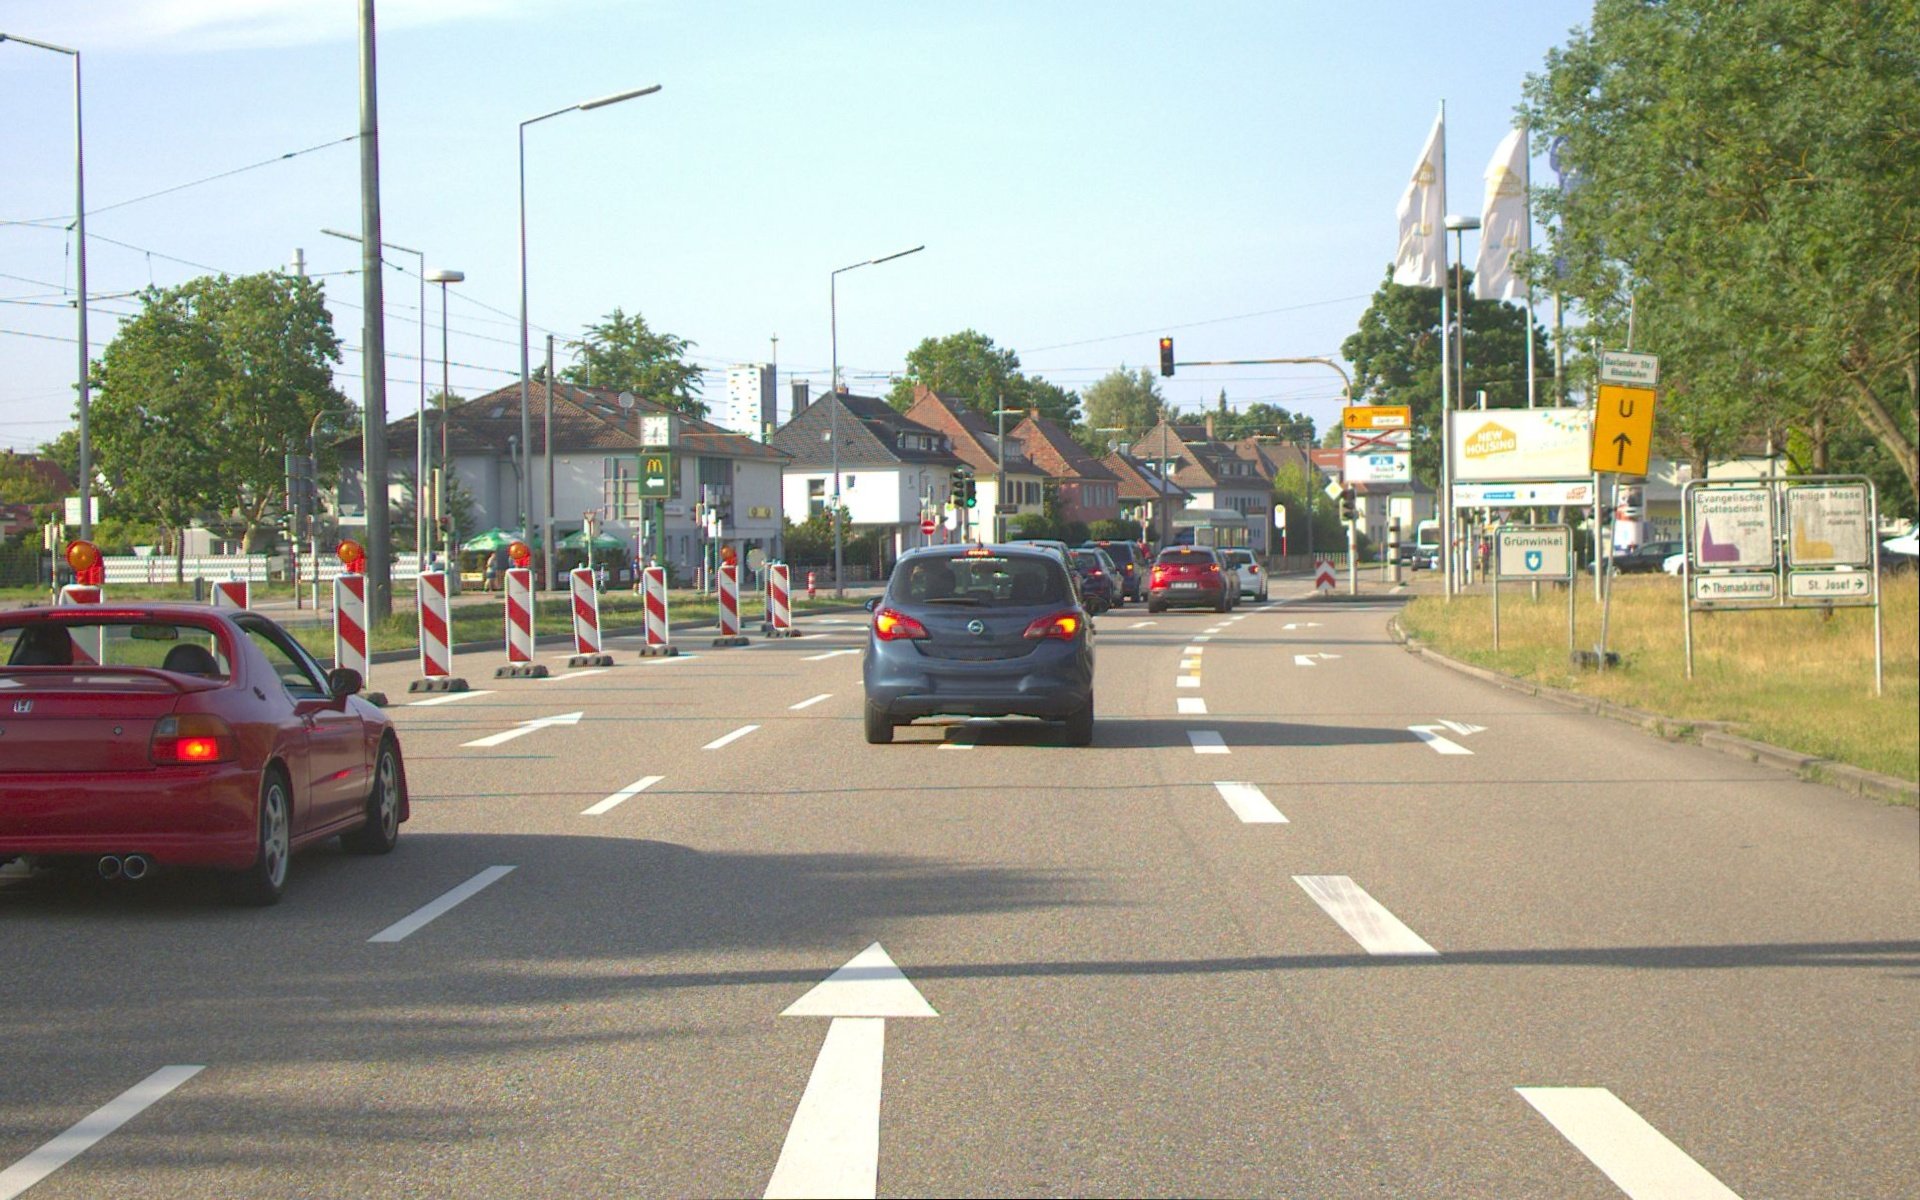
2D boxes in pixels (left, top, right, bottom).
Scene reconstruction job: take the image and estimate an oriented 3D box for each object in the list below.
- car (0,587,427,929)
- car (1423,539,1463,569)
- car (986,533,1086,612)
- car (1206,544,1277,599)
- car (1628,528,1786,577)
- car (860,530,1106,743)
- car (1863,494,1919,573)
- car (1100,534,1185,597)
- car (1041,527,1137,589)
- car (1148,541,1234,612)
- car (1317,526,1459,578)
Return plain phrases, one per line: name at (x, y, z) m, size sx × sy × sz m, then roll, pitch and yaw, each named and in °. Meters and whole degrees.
car at (-3.567, 0.593, 14.998) m, size 1.731 × 1.202 × 3.847 m, roll 1°, pitch 1°, yaw 2°
car at (23.155, -2.198, 164.680) m, size 1.675 × 1.393 × 3.998 m, roll 1°, pitch 0°, yaw 10°
car at (1.682, -0.616, 74.898) m, size 1.764 × 1.665 × 4.083 m, roll 0°, pitch 1°, yaw 7°
car at (7.591, -0.781, 92.475) m, size 1.657 × 1.438 × 4.013 m, roll -1°, pitch 1°, yaw 8°
car at (25.049, -1.604, 115.420) m, size 5.097 × 1.557 × 1.839 m, roll -1°, pitch 1°, yaw 11°
car at (0.208, 0.217, 26.679) m, size 1.741 × 1.500 × 4.223 m, roll -1°, pitch 1°, yaw 1°
car at (33.251, -2.225, 113.996) m, size 6.211 × 2.575 × 1.999 m, roll 0°, pitch 1°, yaw 10°
car at (4.950, -0.946, 92.730) m, size 1.507 × 1.645 × 4.741 m, roll -1°, pitch 1°, yaw 12°
car at (3.207, -1.047, 84.772) m, size 1.700 × 1.503 × 4.552 m, roll 0°, pitch 1°, yaw 11°
car at (5.324, -0.558, 78.988) m, size 1.707 × 1.546 × 3.977 m, roll -1°, pitch 1°, yaw 7°
car at (12.851, -1.433, 103.187) m, size 3.989 × 1.481 × 1.999 m, roll -1°, pitch 1°, yaw 15°
